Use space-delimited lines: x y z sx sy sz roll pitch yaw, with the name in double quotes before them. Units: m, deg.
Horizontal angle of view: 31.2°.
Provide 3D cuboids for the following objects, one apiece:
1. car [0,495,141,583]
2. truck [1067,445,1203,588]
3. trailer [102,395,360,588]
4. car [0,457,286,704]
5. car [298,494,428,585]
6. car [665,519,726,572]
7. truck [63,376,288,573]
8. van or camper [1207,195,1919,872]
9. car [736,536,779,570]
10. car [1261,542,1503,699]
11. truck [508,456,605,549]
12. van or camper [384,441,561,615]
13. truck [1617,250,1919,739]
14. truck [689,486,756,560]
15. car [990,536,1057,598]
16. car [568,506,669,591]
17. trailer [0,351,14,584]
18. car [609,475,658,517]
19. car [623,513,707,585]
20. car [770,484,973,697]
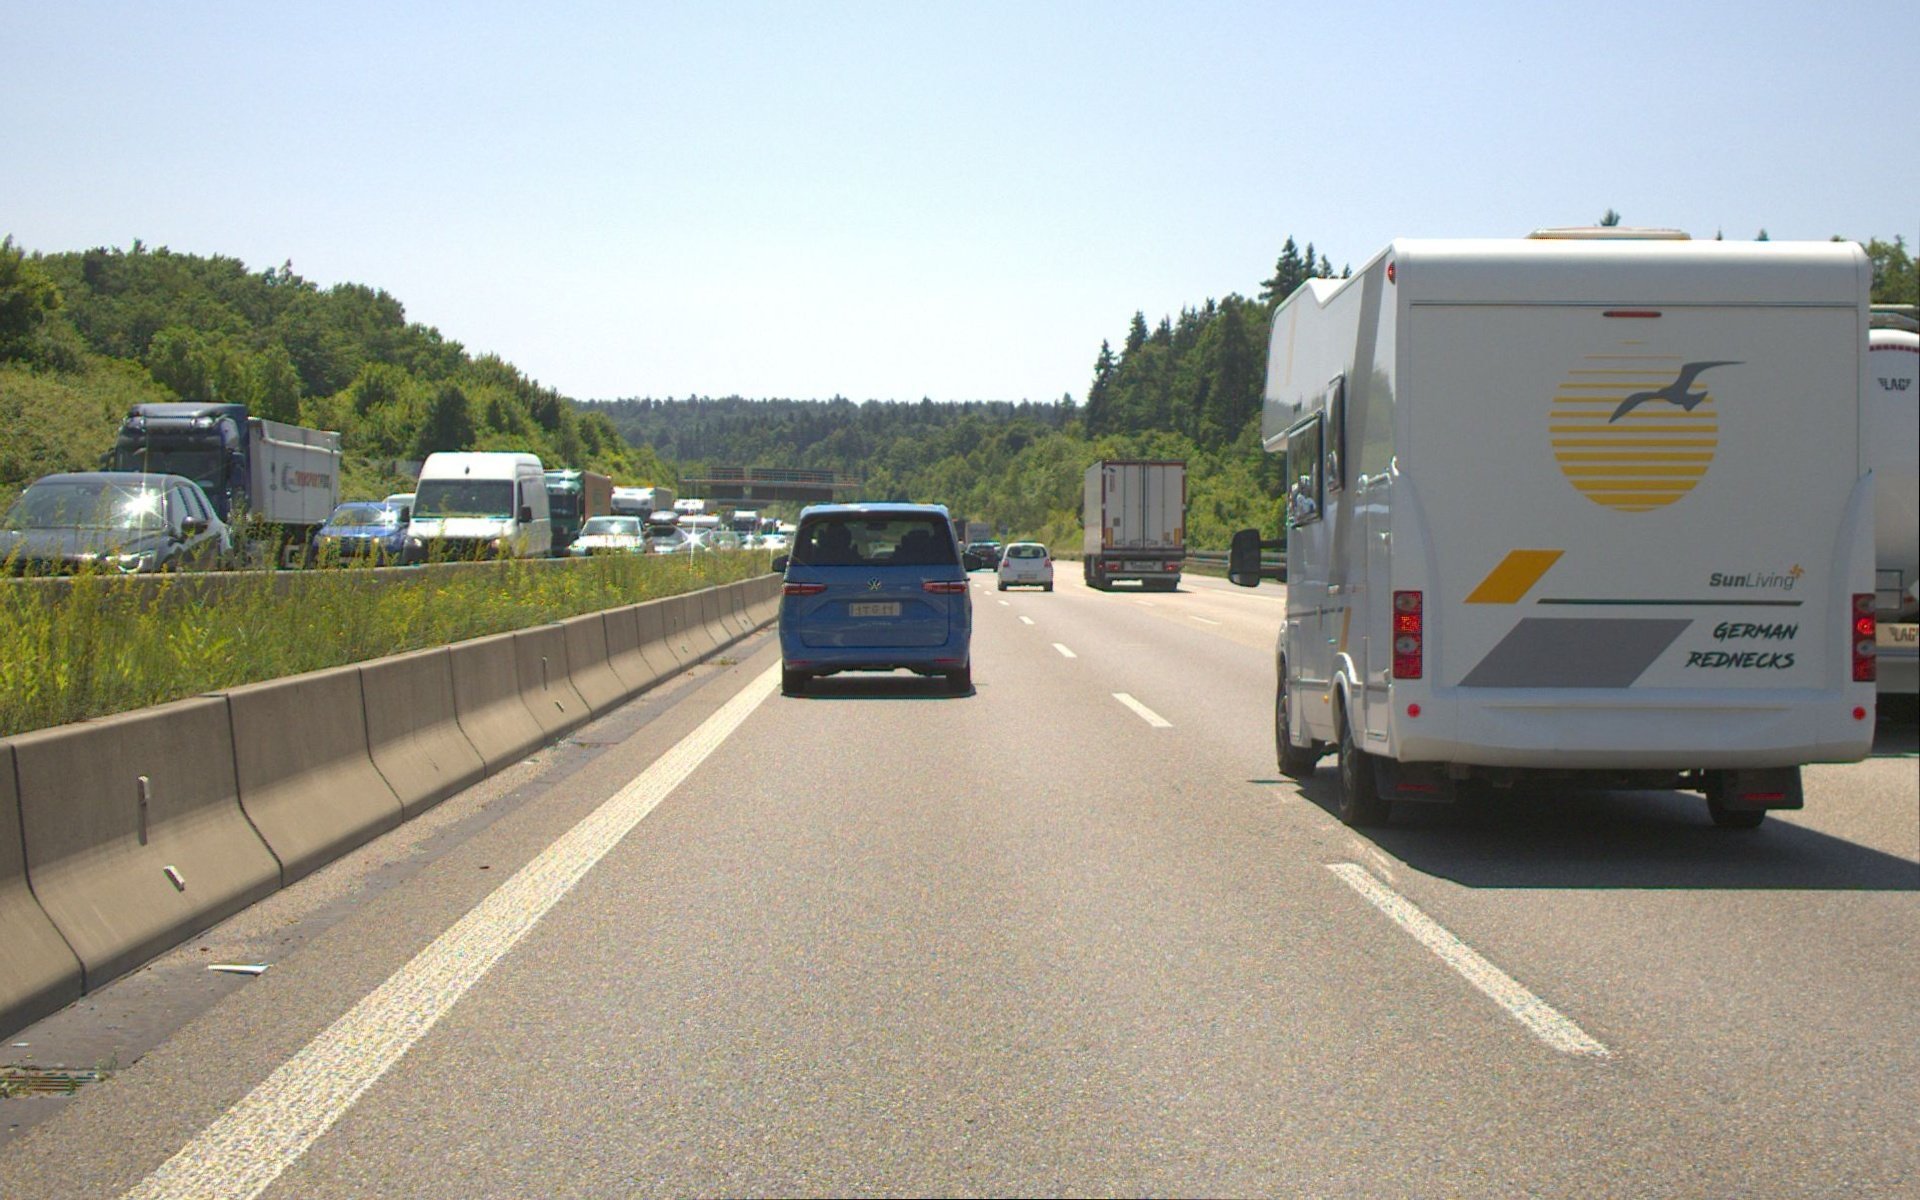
"car" -16.292 -1.101 62.422 1.796 1.533 4.585 0 1 -1
"truck" 5.468 -2.617 109.186 3.487 4.156 8.642 4 1 -1
"trailer" -16.713 -2.480 79.822 3.578 4.079 11.539 1 1 -1
"car" -7.933 -0.223 32.374 2.086 2.056 5.059 4 1 0
"car" -12.524 -1.271 72.424 1.796 1.827 5.746 0 1 -1
"car" -9.432 -1.945 123.000 1.788 1.747 4.000 4 1 0
"truck" -16.597 -2.597 73.097 3.455 3.863 5.445 3 1 -1
"van or camper" 3.058 -0.403 19.497 2.603 3.068 7.183 1 2 -1
"car" -9.991 -2.307 169.992 1.788 1.541 4.000 4 1 0
"car" 4.238 0.168 35.097 1.909 1.470 4.000 1 1 -1
"truck" -17.905 -4.289 153.457 2.991 3.790 12.164 4 1 -2
"van or camper" -8.821 -1.288 62.885 1.993 2.867 7.642 4 1 0
"truck" 7.989 -0.880 29.451 2.928 3.562 8.527 2 2 0
"truck" -13.016 -4.204 189.316 2.991 3.790 12.164 4 1 -2
"car" 1.940 -1.031 106.108 1.818 1.788 3.895 4 1 -1
"car" -8.764 -1.327 88.708 1.993 2.007 5.164 4 1 0
"trailer" -16.242 -1.905 47.728 2.679 3.936 13.246 4 1 -2
"car" -17.996 -5.721 189.653 2.086 2.056 5.059 4 1 0
"car" -8.903 -1.551 104.140 1.993 2.007 5.164 4 1 0
"car" -0.874 -0.119 35.182 1.909 2.007 4.000 1 1 -1
